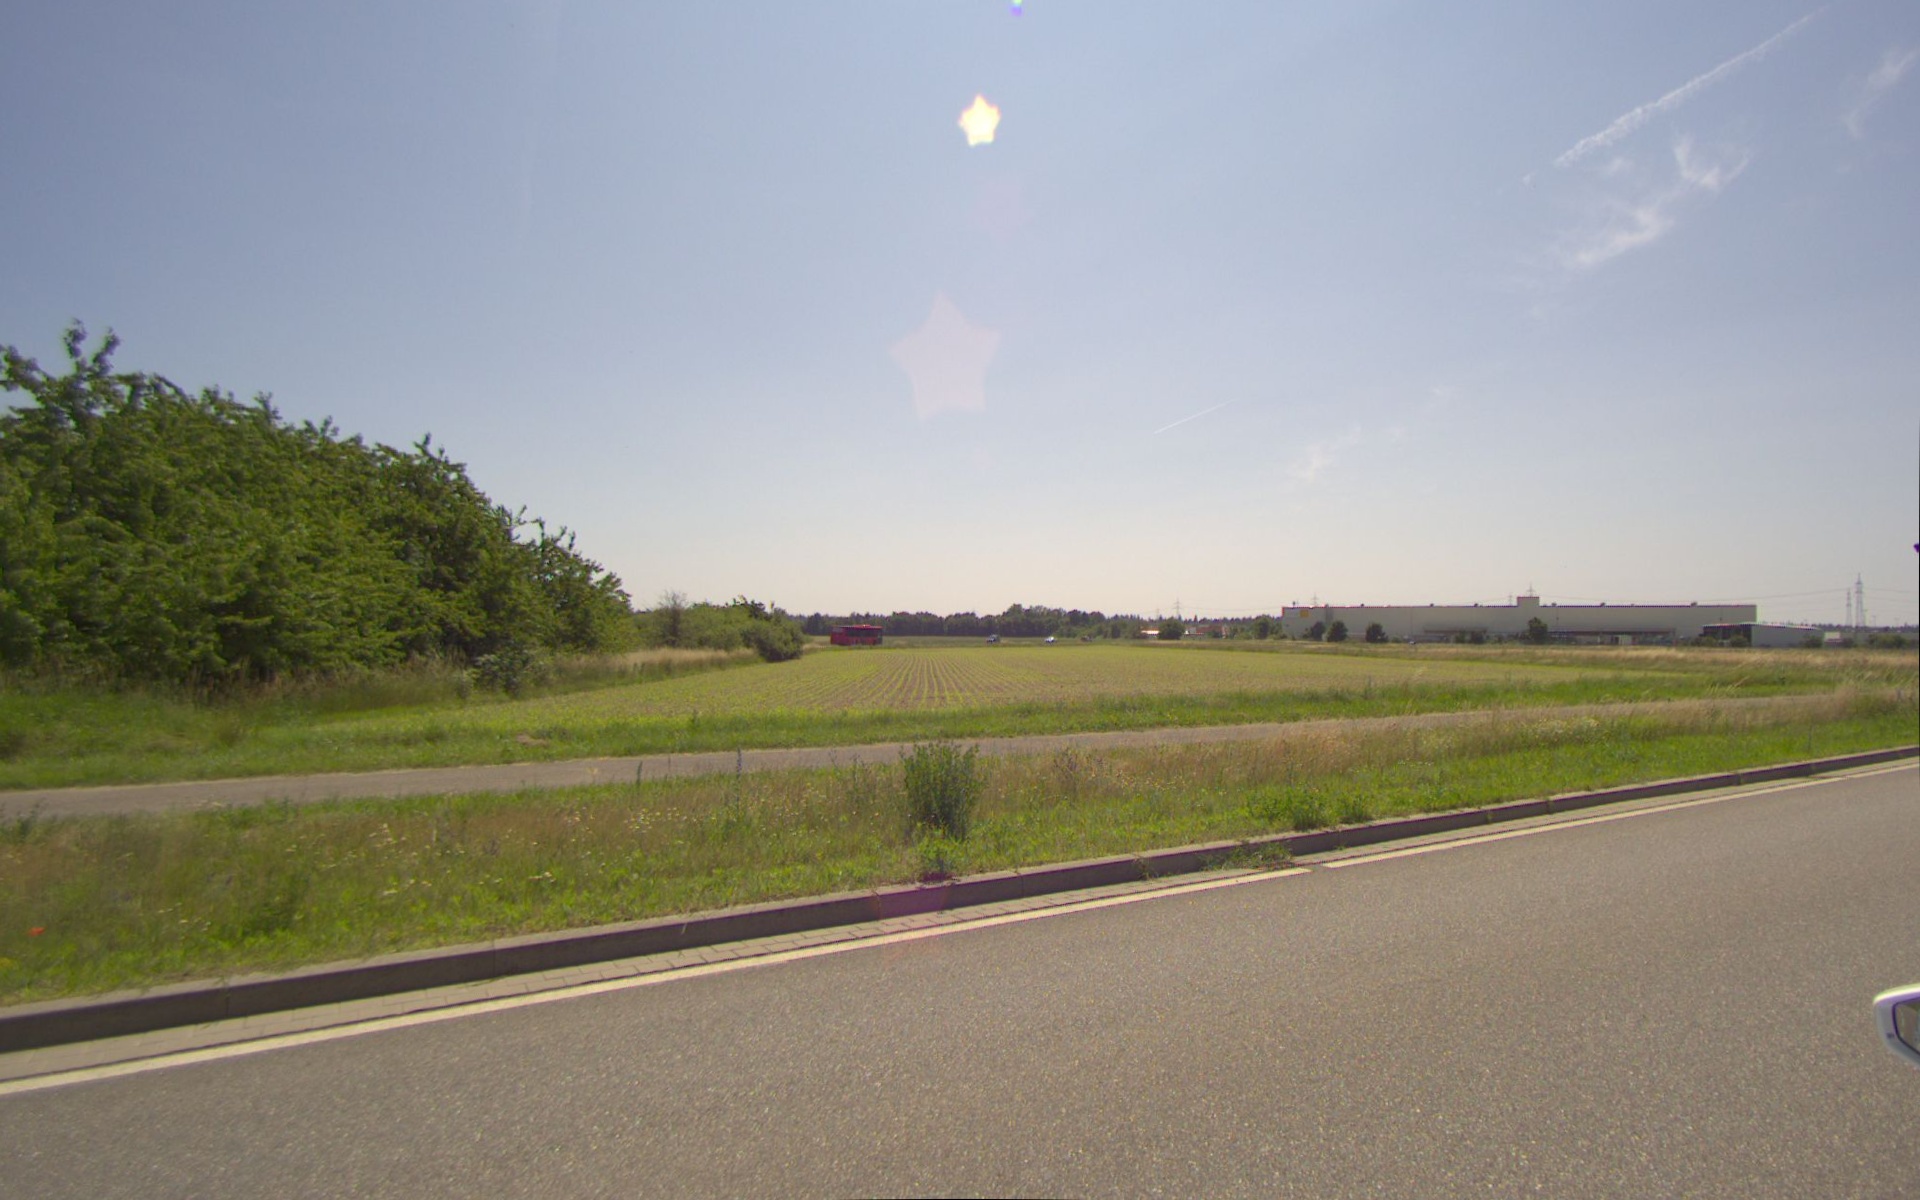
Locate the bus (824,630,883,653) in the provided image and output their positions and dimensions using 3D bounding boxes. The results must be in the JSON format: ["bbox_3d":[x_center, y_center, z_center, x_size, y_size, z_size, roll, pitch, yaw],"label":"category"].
[{"bbox_3d":[-16.001,6.328,152.242,3.251,3.352,11.984,-1,-3,24],"label":"bus"}]

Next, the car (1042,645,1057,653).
[{"bbox_3d":[21.262,11.699,238.091,1.964,1.916,3.994,0,-3,29],"label":"car"}]

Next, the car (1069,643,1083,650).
[{"bbox_3d":[28.819,11.543,249.671,1.967,1.795,3.989,-3,-4,34],"label":"car"}]
